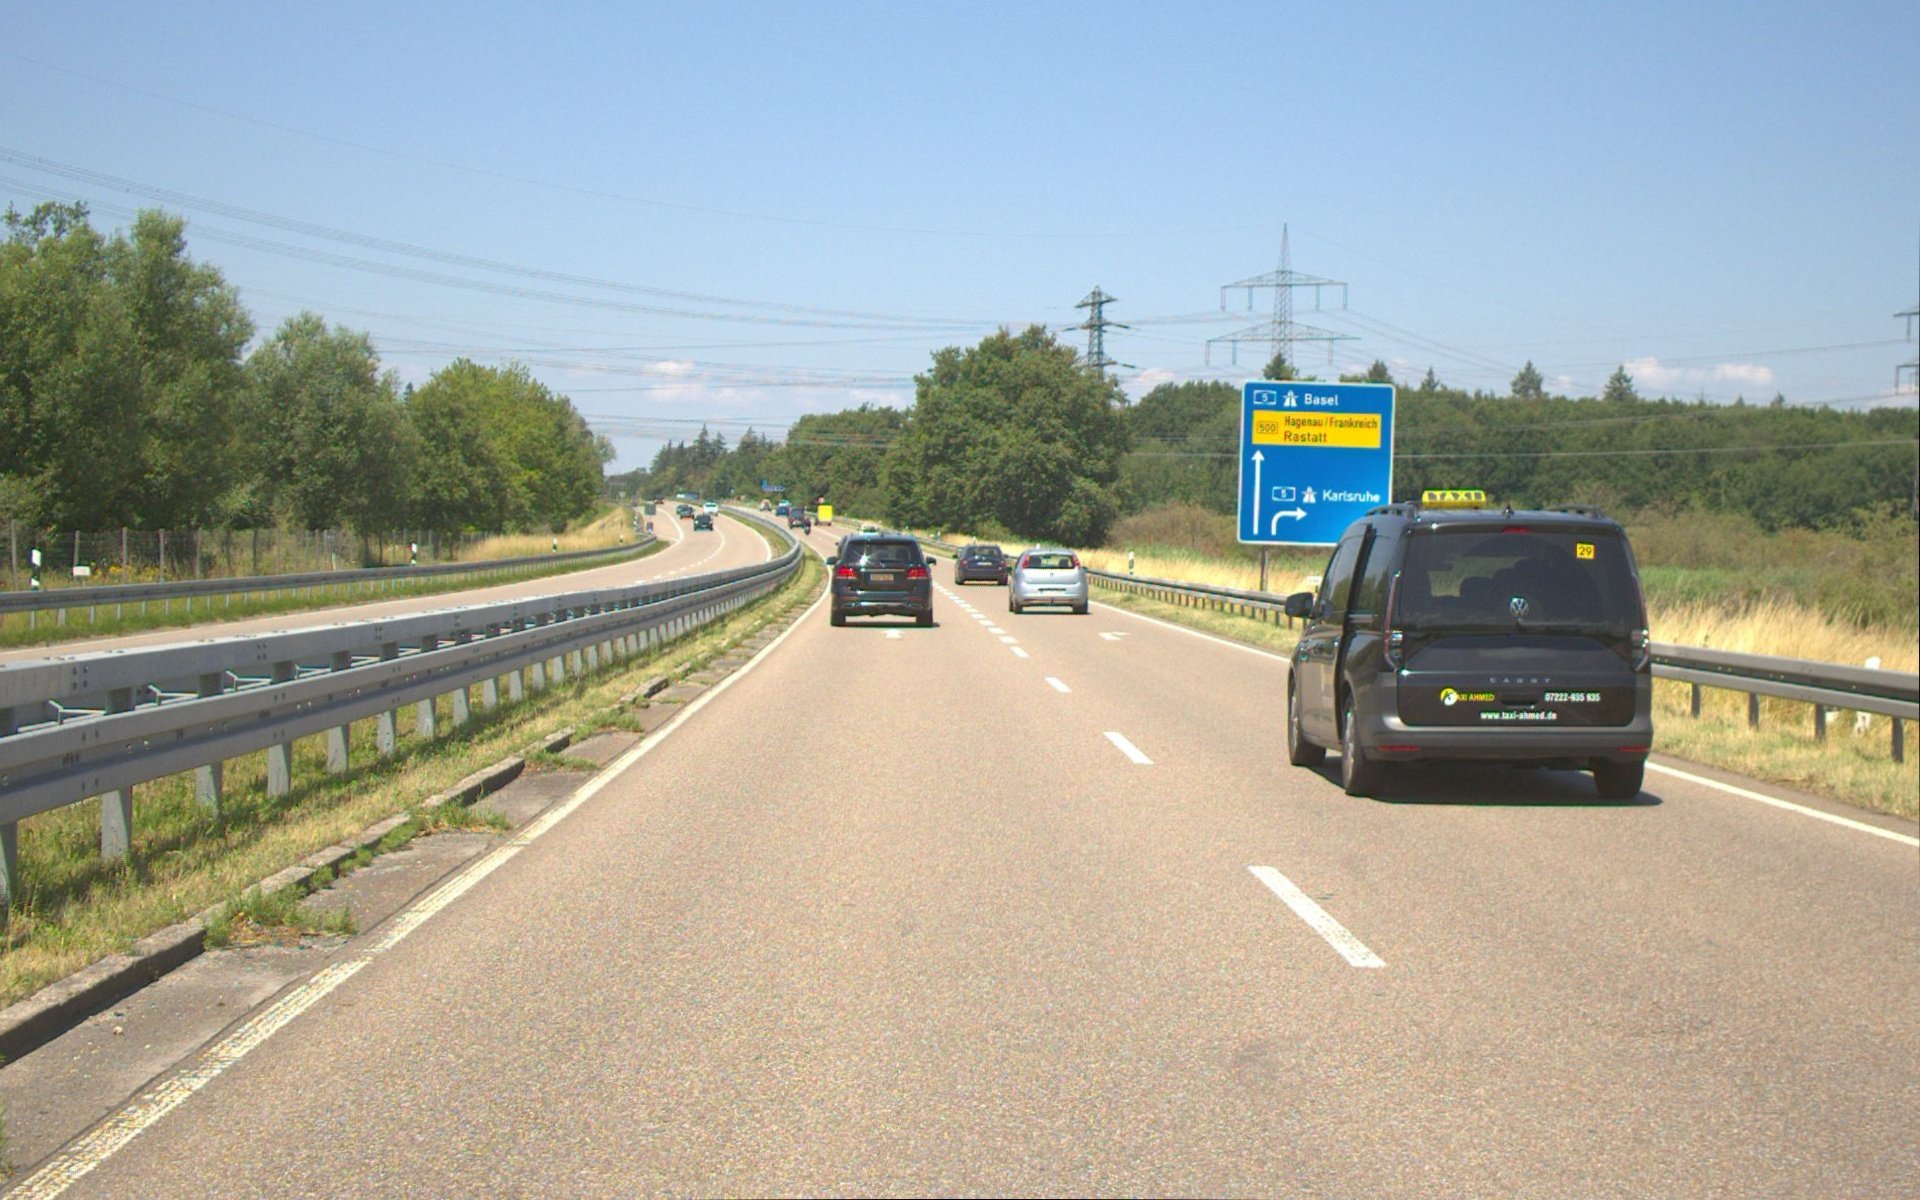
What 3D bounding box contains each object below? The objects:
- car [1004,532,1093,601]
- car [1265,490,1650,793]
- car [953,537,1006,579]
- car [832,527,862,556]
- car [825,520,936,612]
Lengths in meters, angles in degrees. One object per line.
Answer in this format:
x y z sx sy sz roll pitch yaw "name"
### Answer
1.988 -0.789 78.322 1.779 1.474 4.316 2 1 -1 "car"
3.211 0.204 22.997 1.779 1.810 4.213 1 1 -2 "car"
0.675 -1.491 121.896 1.819 1.409 4.000 1 1 0 "car"
-6.078 -3.146 184.483 1.514 1.470 3.066 2 1 -2 "car"
-1.514 -0.677 65.595 1.993 1.649 4.000 2 1 -1 "car"
